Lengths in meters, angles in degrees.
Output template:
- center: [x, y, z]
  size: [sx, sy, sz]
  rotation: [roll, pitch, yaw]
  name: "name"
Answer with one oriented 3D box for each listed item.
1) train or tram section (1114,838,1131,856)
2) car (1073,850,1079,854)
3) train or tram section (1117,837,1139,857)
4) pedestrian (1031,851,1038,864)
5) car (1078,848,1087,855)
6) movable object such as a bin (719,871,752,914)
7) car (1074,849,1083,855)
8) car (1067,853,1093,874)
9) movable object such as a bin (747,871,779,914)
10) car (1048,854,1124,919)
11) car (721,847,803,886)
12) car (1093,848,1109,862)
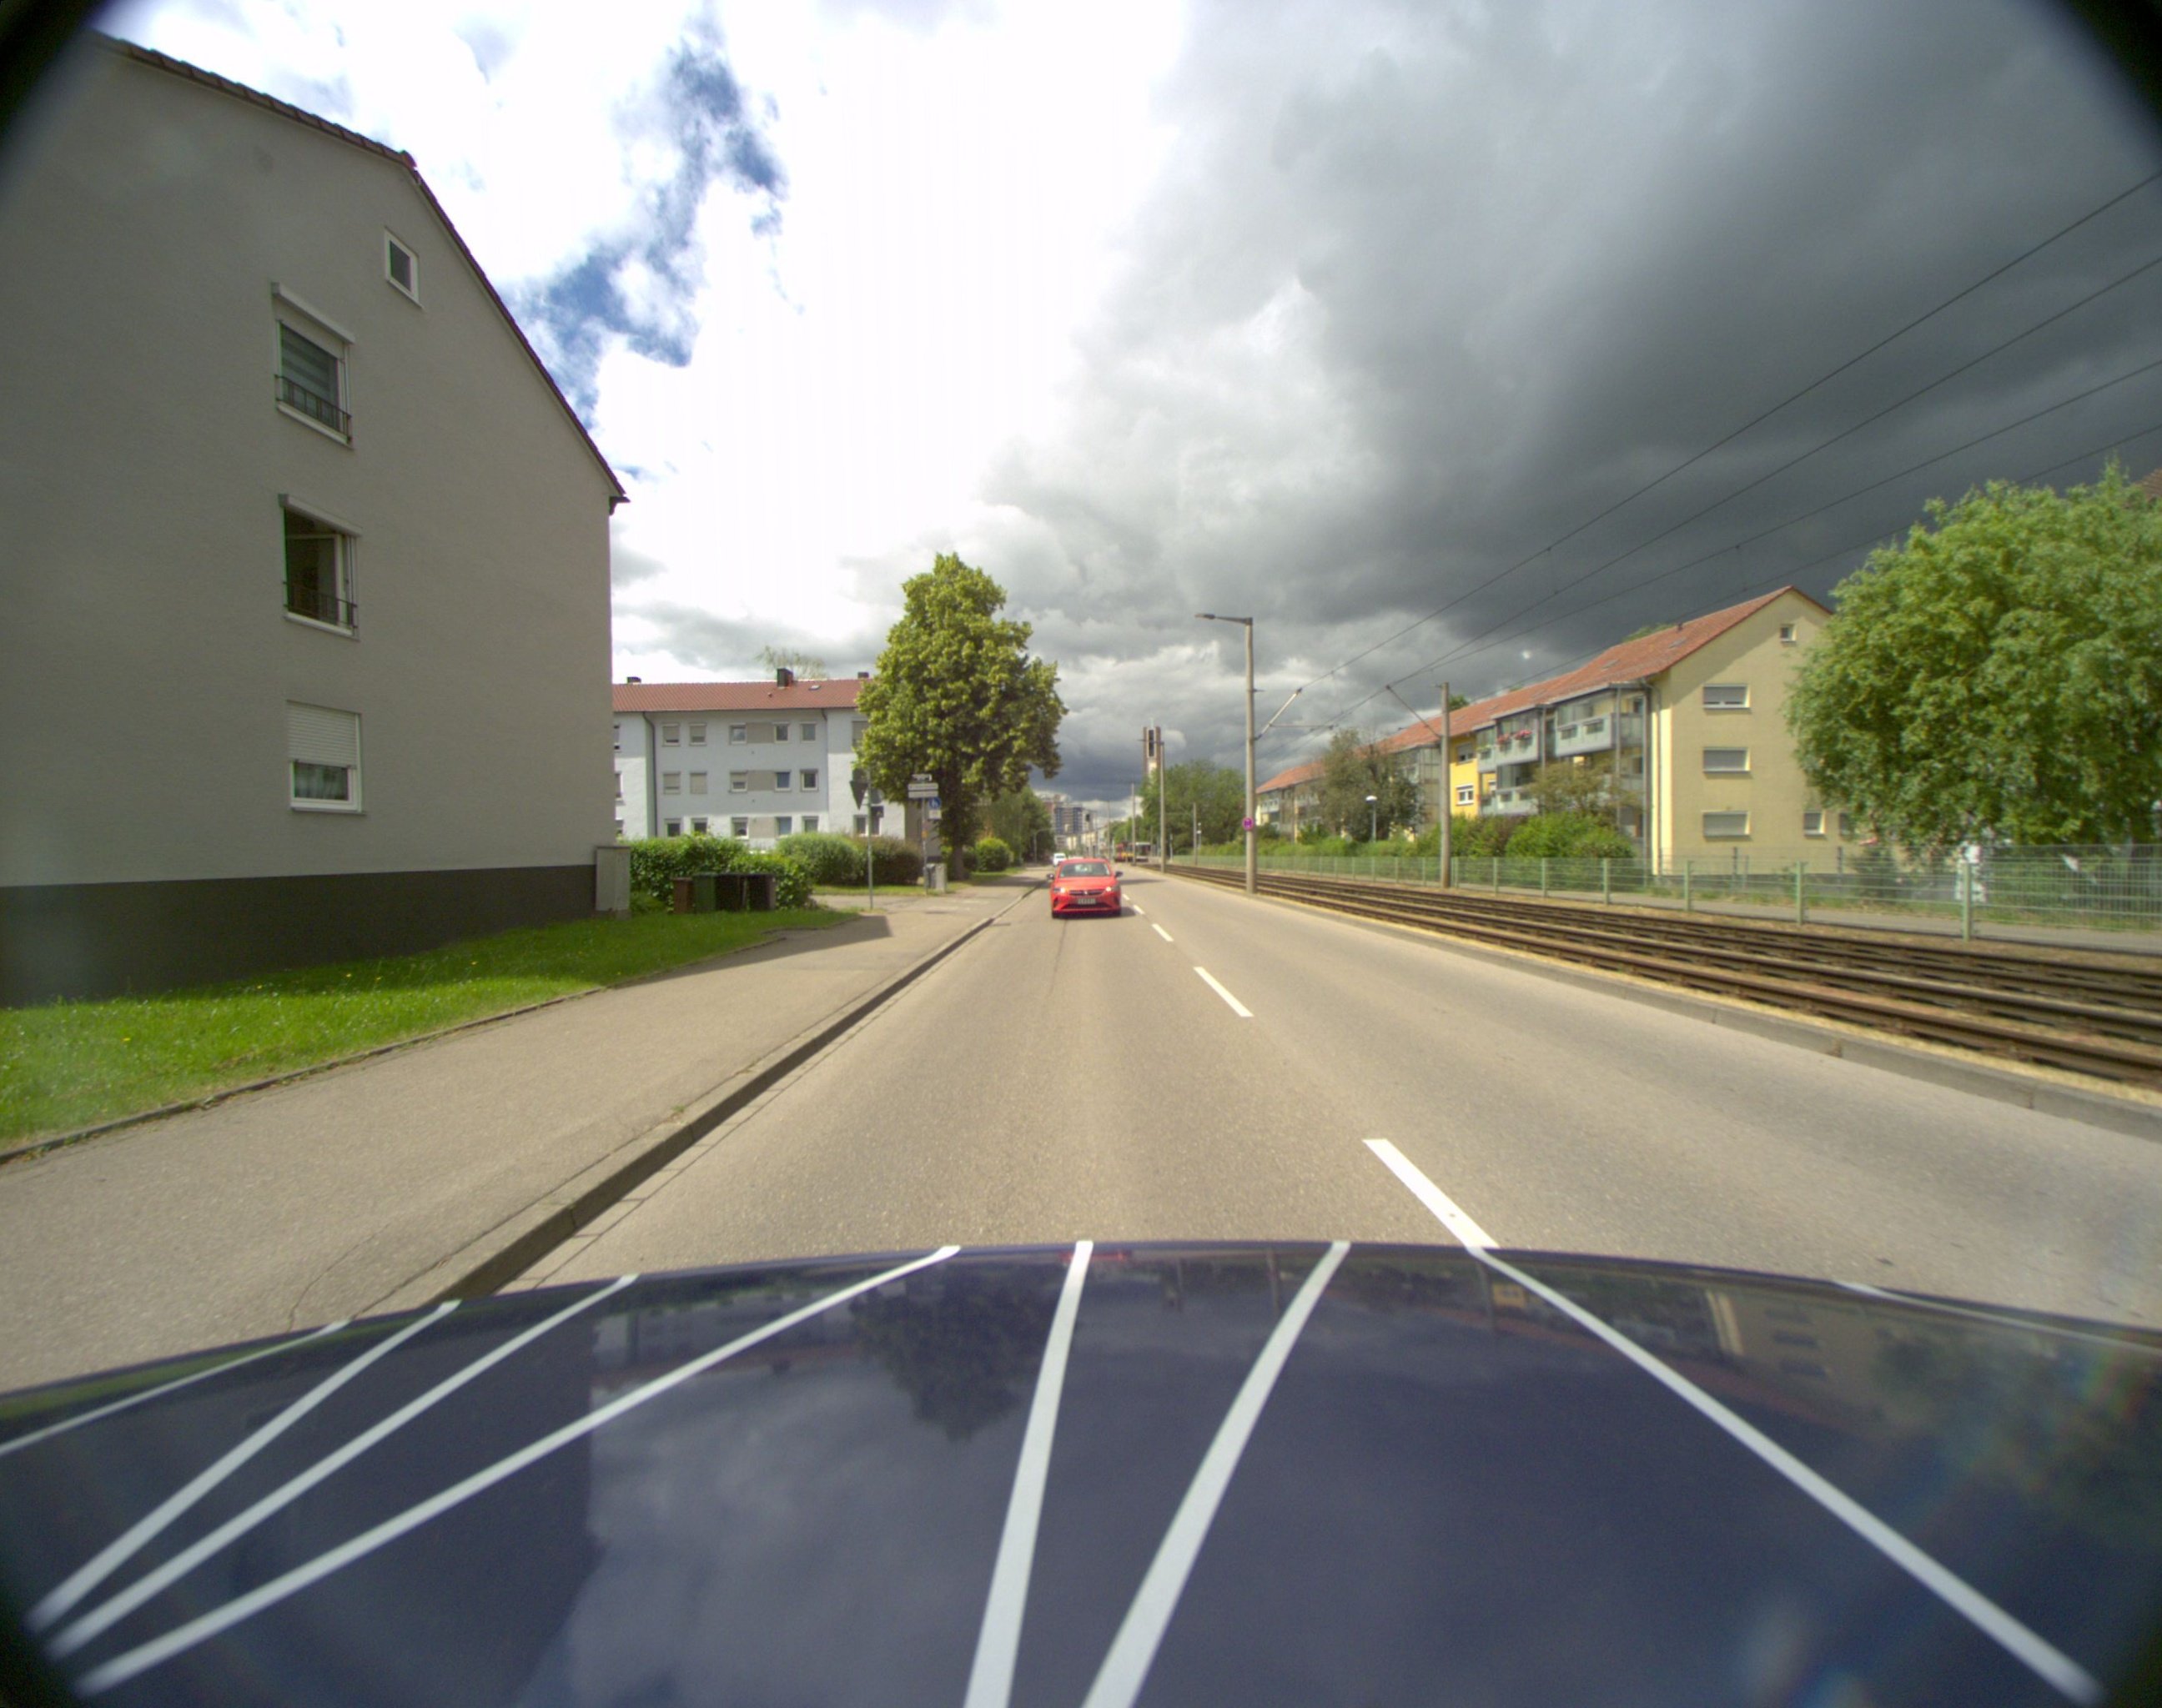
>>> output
- center: [9.373, -1.544, 173.075]
  size: [2.988, 3.840, 11.783]
  rotation: [-2, 1, -1]
  name: "train or tram section"
- center: [-1.691, -0.738, 252.091]
  size: [1.722, 1.433, 4.008]
  rotation: [-1, 1, -2]
  name: "car"
- center: [9.679, -1.507, 158.140]
  size: [2.988, 3.840, 18.533]
  rotation: [-2, 1, -1]
  name: "train or tram section"
- center: [-6.299, 0.460, 102.256]
  size: [0.811, 1.761, 0.816]
  rotation: [2, 1, 5]
  name: "pedestrian"
- center: [0.282, -0.513, 162.092]
  size: [1.633, 1.424, 4.165]
  rotation: [-2, 0, -3]
  name: "car"
- center: [-7.874, 0.881, 17.331]
  size: [0.501, 0.942, 0.551]
  rotation: [0, 1, 0]
  name: "movable object such as a bin"
- center: [-0.649, -0.492, 184.034]
  size: [1.765, 1.543, 3.998]
  rotation: [-2, 1, -3]
  name: "car"
- center: [-0.051, 0.654, 55.991]
  size: [1.756, 1.433, 4.226]
  rotation: [-1, 1, 0]
  name: "car"
- center: [-7.285, 0.871, 17.435]
  size: [0.497, 0.949, 0.580]
  rotation: [0, 1, 0]
  name: "movable object such as a bin"
- center: [0.137, 0.756, 19.962]
  size: [1.756, 1.433, 4.226]
  rotation: [-1, 1, 0]
  name: "car"
- center: [-12.900, 0.470, 30.952]
  size: [1.680, 1.407, 3.742]
  rotation: [-2, 1, 0]
  name: "car"
- center: [2.198, 0.103, 83.424]
  size: [1.628, 1.516, 3.581]
  rotation: [-1, 1, 0]
  name: "car"
